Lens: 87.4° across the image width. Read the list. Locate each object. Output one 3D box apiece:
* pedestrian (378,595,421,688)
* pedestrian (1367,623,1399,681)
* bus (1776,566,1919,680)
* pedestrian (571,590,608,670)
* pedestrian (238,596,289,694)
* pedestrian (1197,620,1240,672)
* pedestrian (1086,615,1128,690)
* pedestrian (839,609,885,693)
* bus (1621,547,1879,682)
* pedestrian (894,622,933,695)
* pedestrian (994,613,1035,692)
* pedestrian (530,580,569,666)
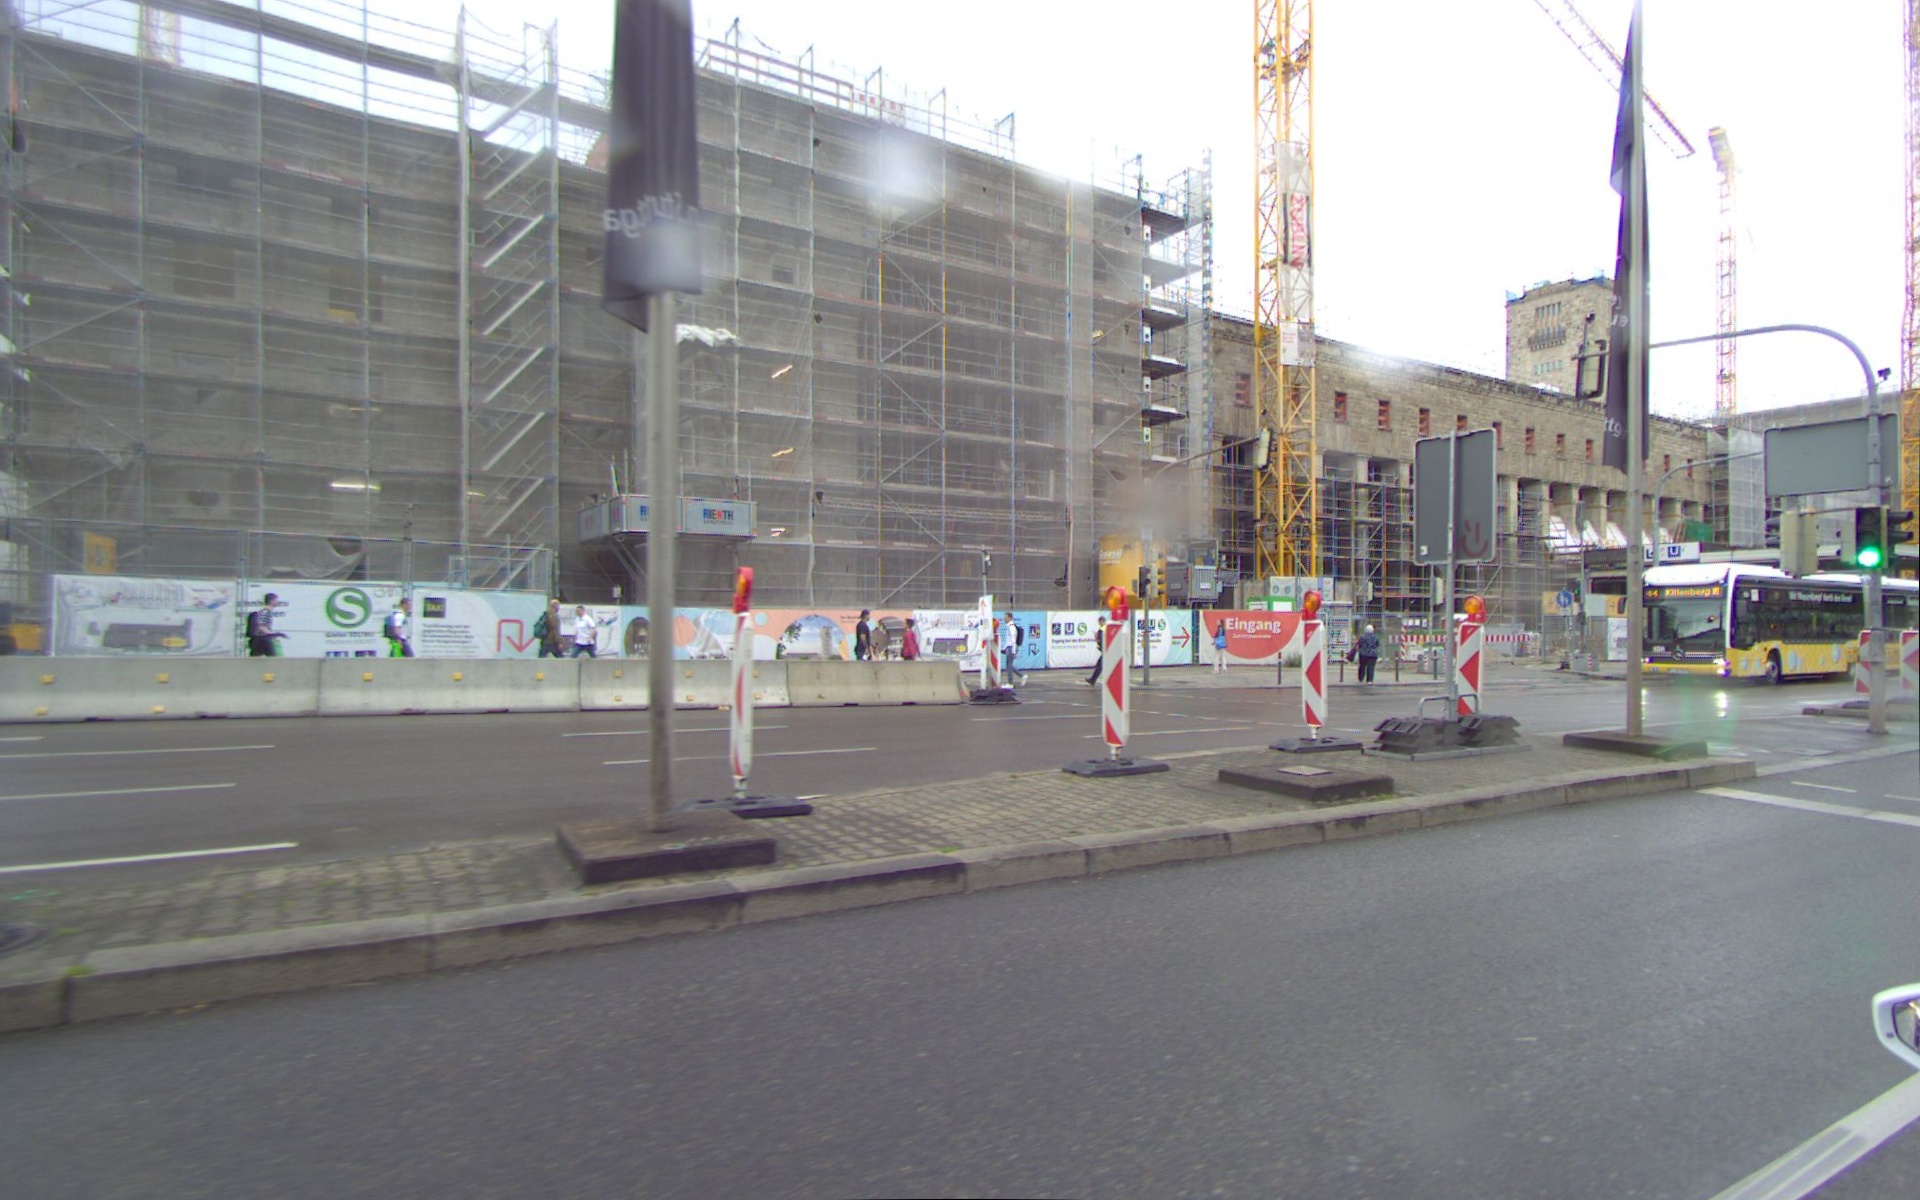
[{"bbox_3d":[-11.499,0.845,20.613,0.709,1.860,0.478,2,0,-30],"label":"pedestrian"},{"bbox_3d":[12.074,1.476,28.630,0.772,1.581,0.875,2,0,25],"label":"pedestrian"},{"bbox_3d":[33.158,0.886,36.014,10.092,3.649,2.655,2,0,-30],"label":"bus"},{"bbox_3d":[-8.792,0.714,23.856,0.709,1.860,0.478,2,0,-30],"label":"pedestrian"},{"bbox_3d":[-13.609,0.868,19.635,0.709,1.860,0.583,2,0,-30],"label":"pedestrian"},{"bbox_3d":[8.116,1.436,31.585,0.890,1.584,0.909,2,0,-33],"label":"pedestrian"},{"bbox_3d":[3.720,1.319,25.419,0.810,1.860,0.575,2,0,-30],"label":"pedestrian"},{"bbox_3d":[-2.210,1.140,22.582,0.810,1.860,0.575,2,0,-30],"label":"pedestrian"},{"bbox_3d":[24.424,0.551,30.824,10.120,3.649,2.655,2,0,-30],"label":"bus"},{"bbox_3d":[-1.123,1.416,24.411,0.613,1.740,0.794,2,-2,-33],"label":"pedestrian"},{"bbox_3d":[1.361,1.298,25.207,0.614,1.915,0.792,2,0,-38],"label":"pedestrian"},{"bbox_3d":[-9.069,0.505,22.190,0.709,1.860,0.478,2,0,-30],"label":"pedestrian"}]
